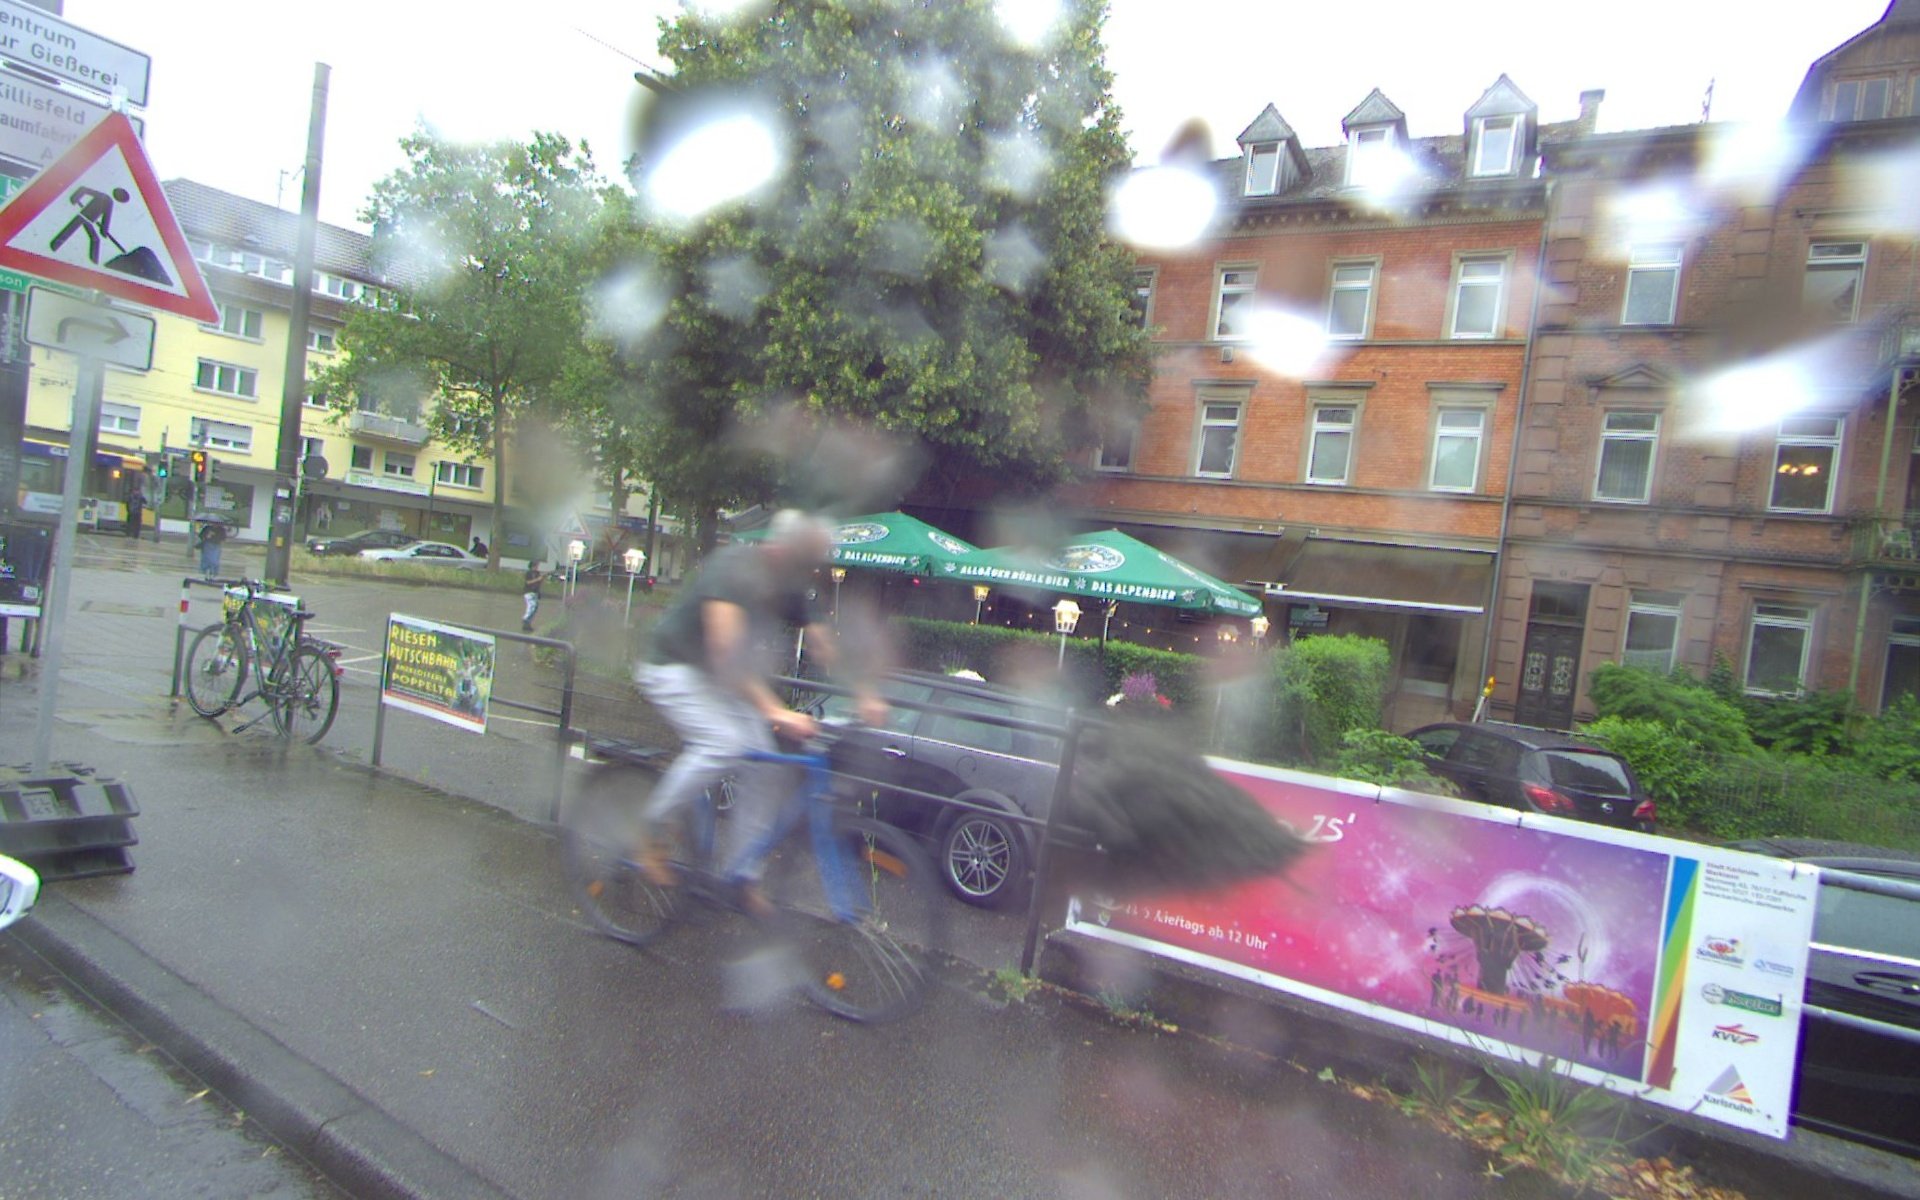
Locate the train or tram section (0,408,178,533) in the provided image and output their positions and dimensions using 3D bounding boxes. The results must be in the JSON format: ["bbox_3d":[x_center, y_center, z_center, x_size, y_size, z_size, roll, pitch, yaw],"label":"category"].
[{"bbox_3d":[-33.690,-4.764,32.080,3.057,3.603,14.675,8,1,16],"label":"train or tram section"}]

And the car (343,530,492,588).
[{"bbox_3d":[-19.933,-1.470,37.099,1.717,1.508,4.474,9,1,45],"label":"car"}]

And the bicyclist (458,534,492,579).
[{"bbox_3d":[-20.210,-1.801,41.945,0.704,1.737,0.886,8,0,42],"label":"bicyclist"}]

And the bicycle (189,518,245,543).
[{"bbox_3d":[-35.358,-3.304,47.908,2.034,0.908,0.606,7,0,-44],"label":"bicycle"}]

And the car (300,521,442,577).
[{"bbox_3d":[-22.591,-1.940,38.712,1.853,1.520,4.264,8,1,40],"label":"car"}]

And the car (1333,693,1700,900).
[{"bbox_3d":[6.412,2.191,12.231,1.828,1.526,3.997,8,-1,-5],"label":"car"}]

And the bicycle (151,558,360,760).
[{"bbox_3d":[-5.171,0.397,7.347,1.762,1.182,0.423,8,-1,30],"label":"bicycle"}]

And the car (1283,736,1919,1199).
[{"bbox_3d":[4.006,1.826,4.988,4.146,1.481,1.749,8,0,32],"label":"car"}]

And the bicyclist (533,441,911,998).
[{"bbox_3d":[-0.830,0.363,3.598,0.862,1.677,0.737,8,2,27],"label":"bicyclist"}]

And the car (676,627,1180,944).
[{"bbox_3d":[-0.321,1.250,7.841,3.459,1.518,1.649,8,-1,34],"label":"car"}]

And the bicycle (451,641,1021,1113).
[{"bbox_3d":[-0.828,0.820,3.579,1.833,1.086,0.739,8,2,27],"label":"bicycle"}]

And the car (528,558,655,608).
[{"bbox_3d":[-15.511,-0.686,42.496,4.612,1.504,1.838,7,1,-45],"label":"car"}]

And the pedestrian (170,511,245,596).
[{"bbox_3d":[-16.789,-1.043,22.445,1.099,1.687,0.986,8,0,-42],"label":"pedestrian"}]

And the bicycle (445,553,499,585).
[{"bbox_3d":[-20.321,-1.273,41.924,0.710,1.044,1.808,8,-1,42],"label":"bicycle"}]

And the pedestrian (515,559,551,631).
[{"bbox_3d":[-10.281,-0.111,24.219,0.382,1.667,0.549,8,3,33],"label":"pedestrian"}]

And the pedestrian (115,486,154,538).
[{"bbox_3d":[-29.442,-3.131,35.892,0.806,1.698,1.008,7,1,-32],"label":"pedestrian"}]
